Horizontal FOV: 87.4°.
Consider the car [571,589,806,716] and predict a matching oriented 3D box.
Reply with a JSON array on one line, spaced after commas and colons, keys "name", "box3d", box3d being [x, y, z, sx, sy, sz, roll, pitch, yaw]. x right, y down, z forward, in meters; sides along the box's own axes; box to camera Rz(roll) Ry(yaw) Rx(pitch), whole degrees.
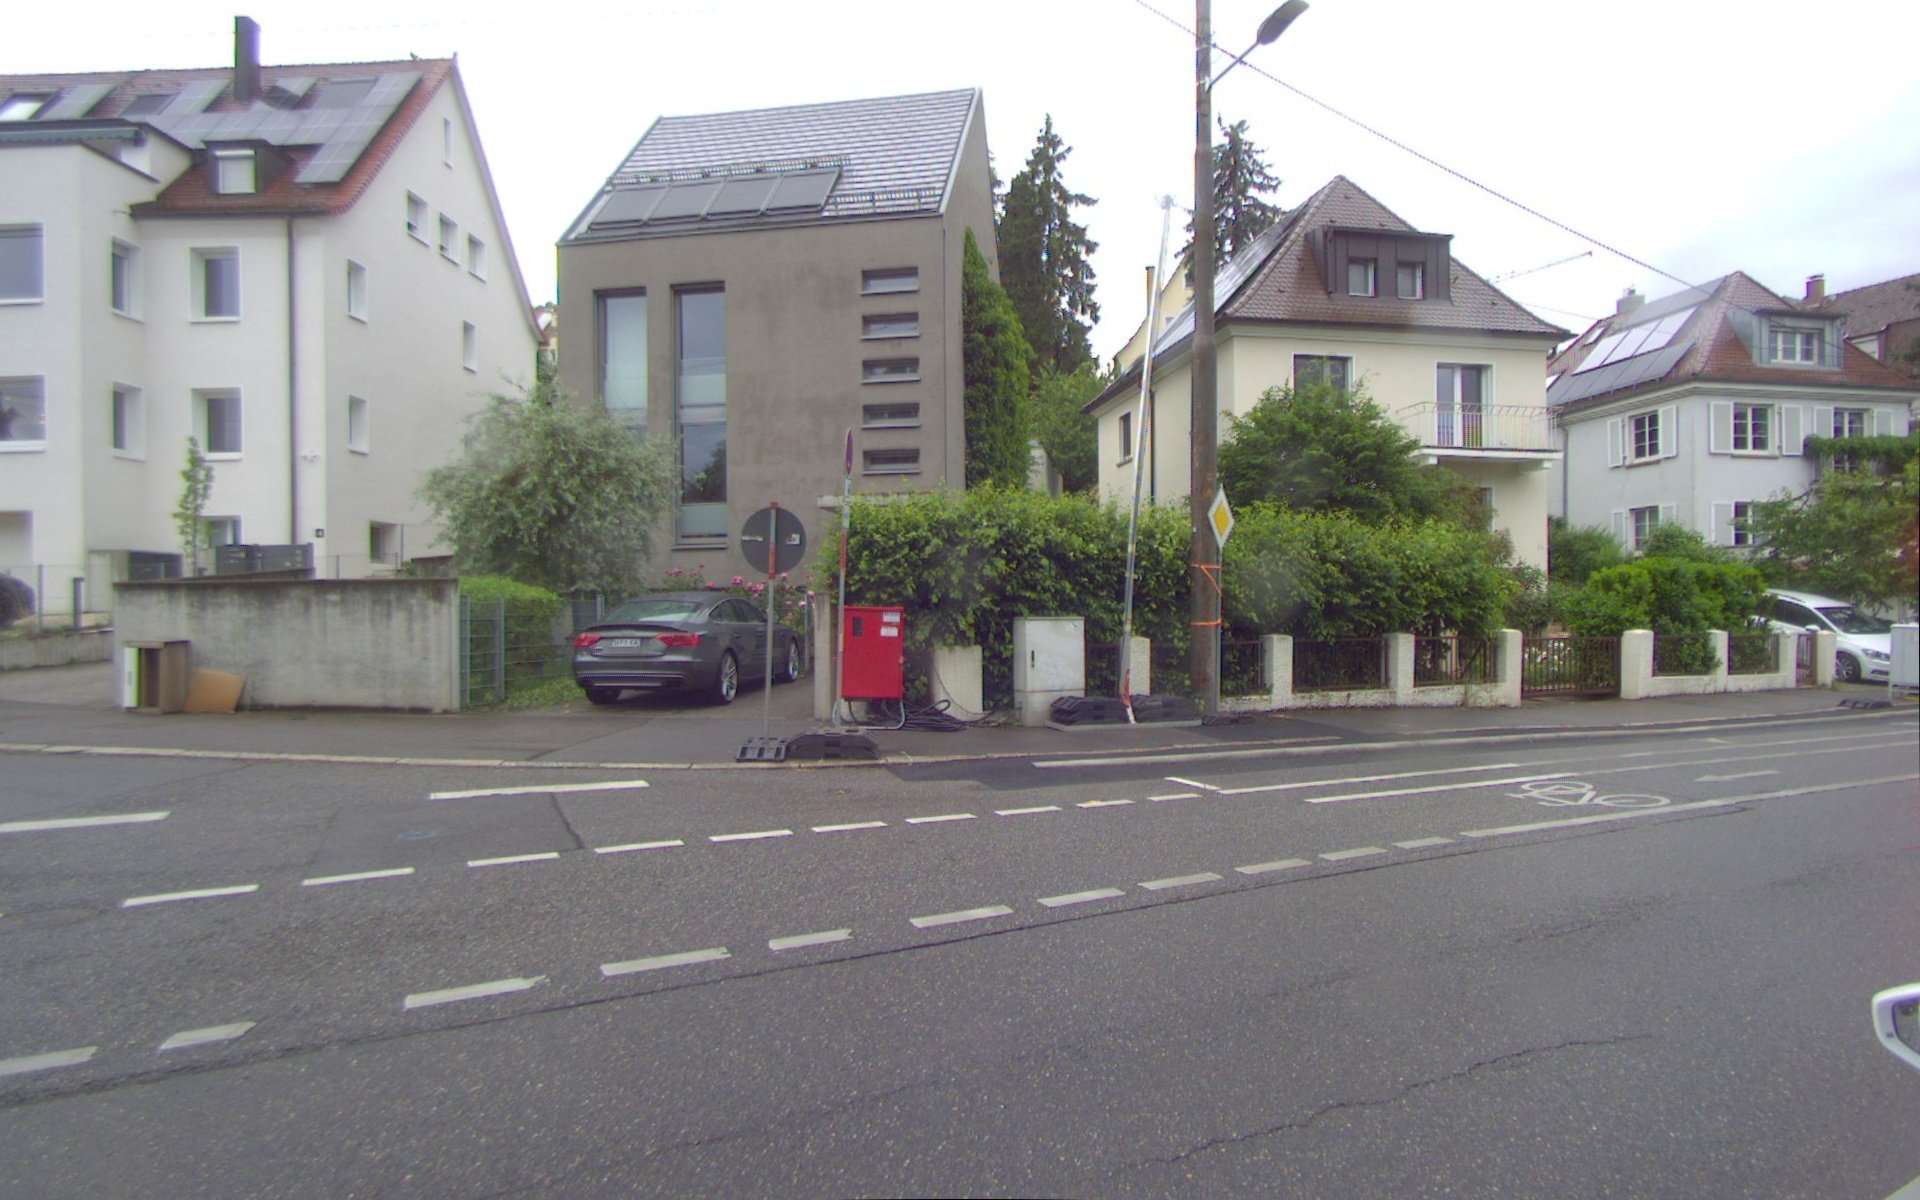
[{"name": "car", "box3d": [-3.468, 0.579, 13.707, 1.581, 1.387, 4.265, 0, 1, 7]}]

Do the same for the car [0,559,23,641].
[{"name": "car", "box3d": [-16.847, 0.063, 15.169, 1.536, 1.350, 3.923, 1, 3, 3]}]

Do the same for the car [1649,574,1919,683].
[{"name": "car", "box3d": [19.569, 0.553, 24.018, 1.833, 1.639, 4.960, 0, 10, -15]}]

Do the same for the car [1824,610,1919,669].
[{"name": "car", "box3d": [26.134, 1.081, 27.006, 1.909, 1.546, 3.986, 2, 0, -16]}]
